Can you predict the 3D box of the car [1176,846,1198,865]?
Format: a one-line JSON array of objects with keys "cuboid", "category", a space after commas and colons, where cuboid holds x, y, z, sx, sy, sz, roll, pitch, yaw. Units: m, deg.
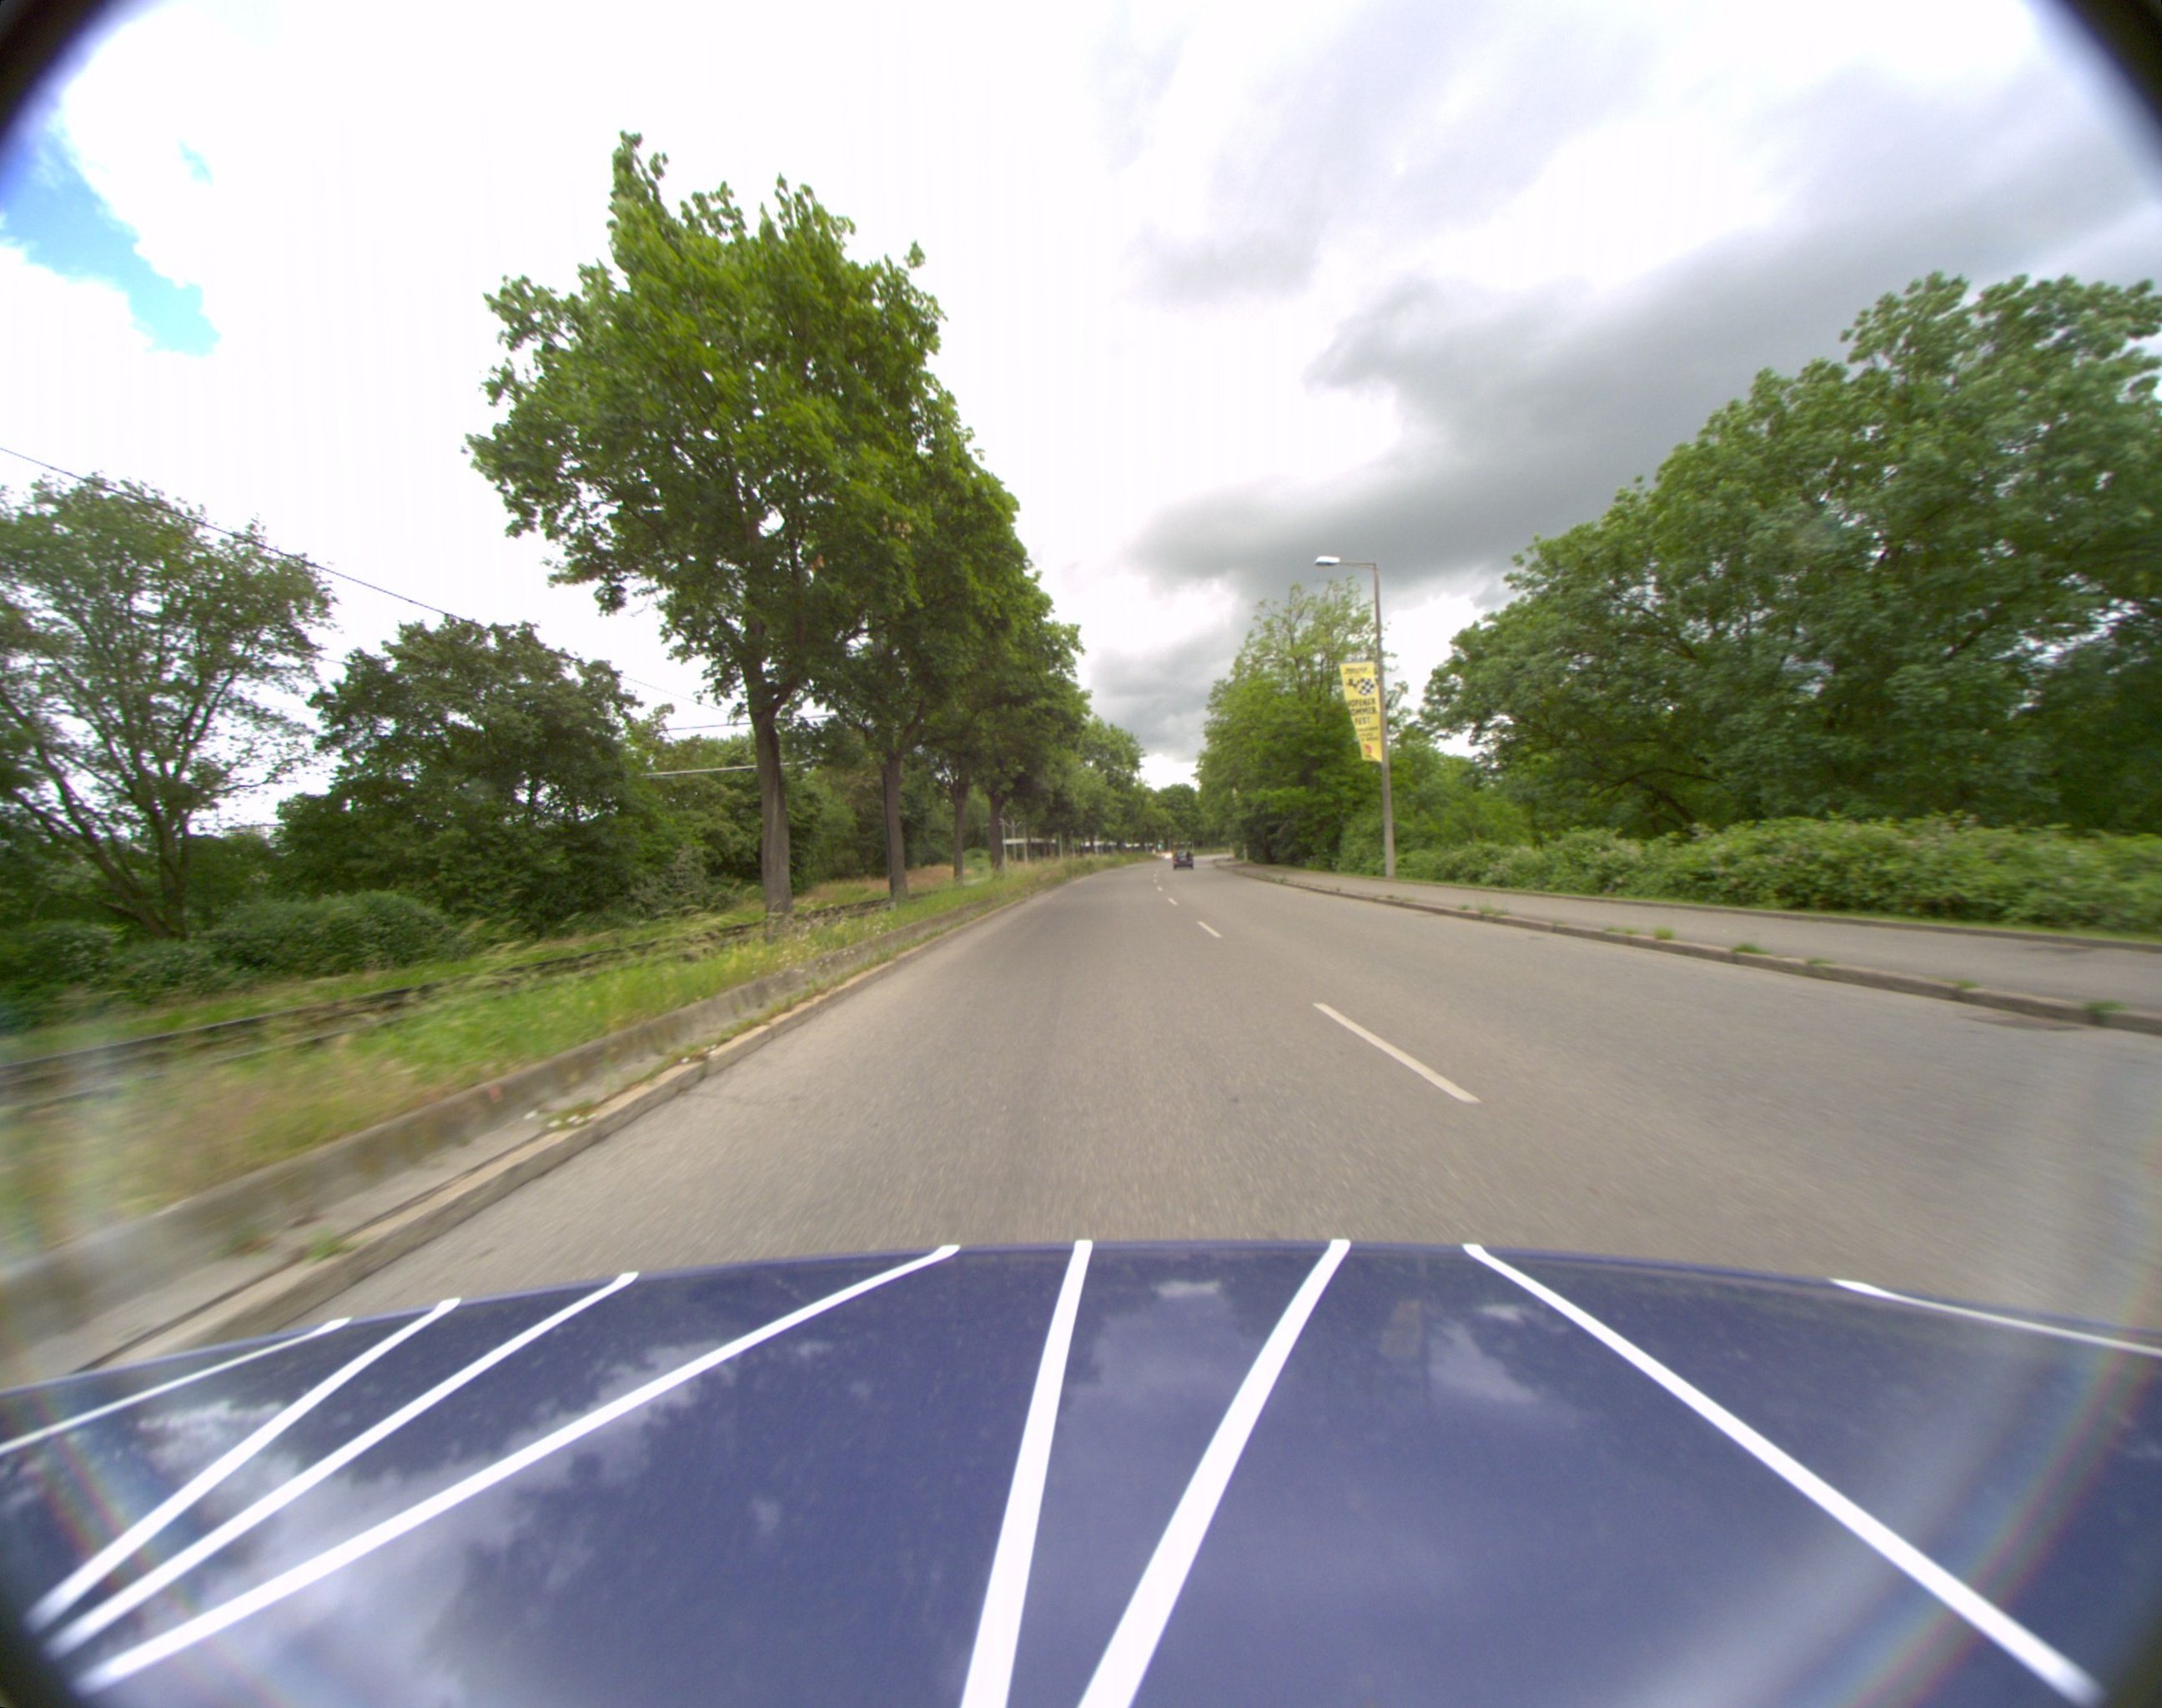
[{"cuboid": [8.821, 0.140, 63.551, 1.599, 1.497, 3.029, -2, 0, 5], "category": "car"}]
